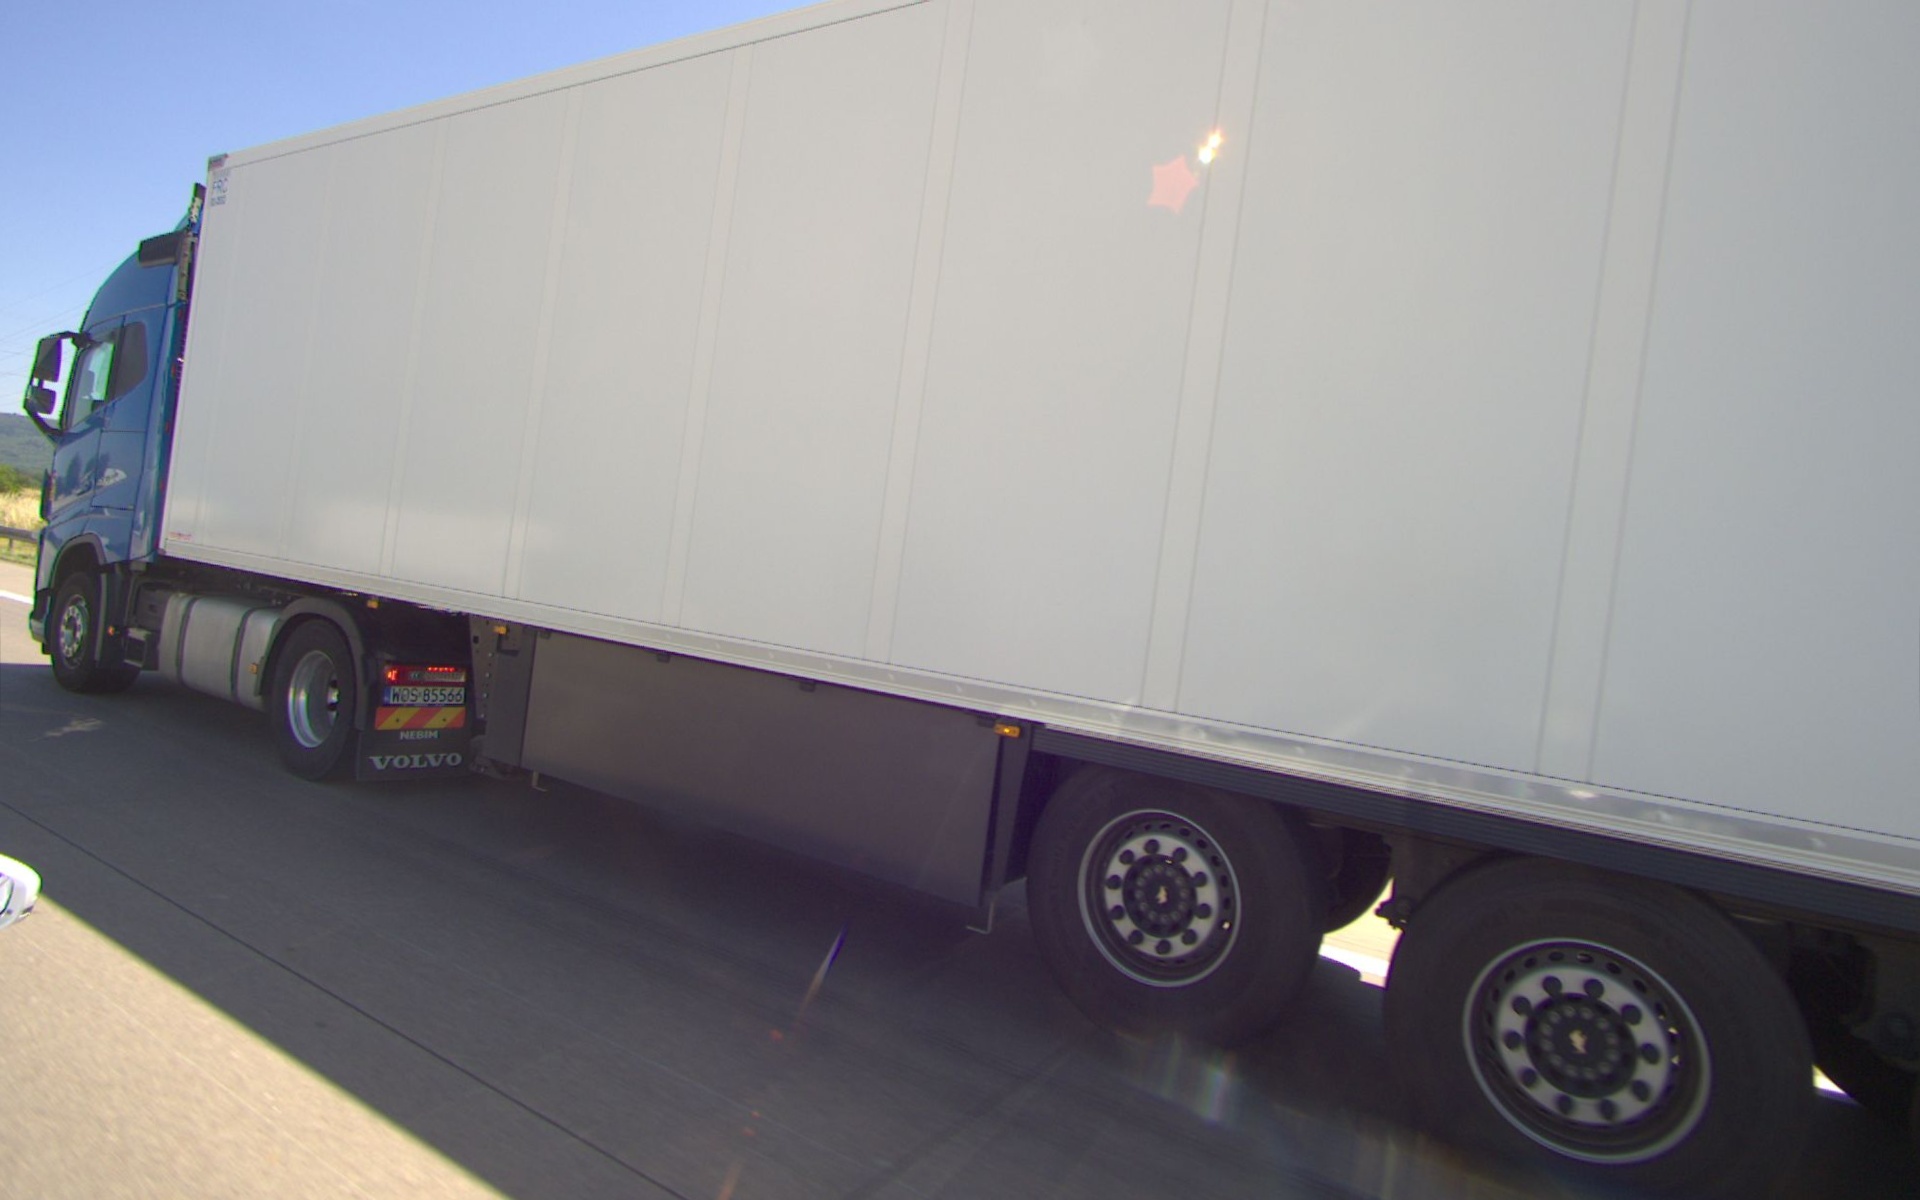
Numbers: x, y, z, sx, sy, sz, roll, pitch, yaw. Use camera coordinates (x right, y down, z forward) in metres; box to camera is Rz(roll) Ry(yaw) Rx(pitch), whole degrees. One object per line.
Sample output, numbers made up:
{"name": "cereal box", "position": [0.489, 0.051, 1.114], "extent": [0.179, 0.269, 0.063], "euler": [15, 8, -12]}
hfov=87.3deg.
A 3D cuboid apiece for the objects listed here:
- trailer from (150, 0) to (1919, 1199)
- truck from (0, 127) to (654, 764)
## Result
{"name": "trailer", "position": [0.565, -0.419, 4.991], "extent": [12.688, 4.091, 2.714], "euler": [6, -1, 32]}
{"name": "truck", "position": [-5.895, -1.107, 8.993], "extent": [5.375, 4.091, 2.755], "euler": [7, -1, 31]}
